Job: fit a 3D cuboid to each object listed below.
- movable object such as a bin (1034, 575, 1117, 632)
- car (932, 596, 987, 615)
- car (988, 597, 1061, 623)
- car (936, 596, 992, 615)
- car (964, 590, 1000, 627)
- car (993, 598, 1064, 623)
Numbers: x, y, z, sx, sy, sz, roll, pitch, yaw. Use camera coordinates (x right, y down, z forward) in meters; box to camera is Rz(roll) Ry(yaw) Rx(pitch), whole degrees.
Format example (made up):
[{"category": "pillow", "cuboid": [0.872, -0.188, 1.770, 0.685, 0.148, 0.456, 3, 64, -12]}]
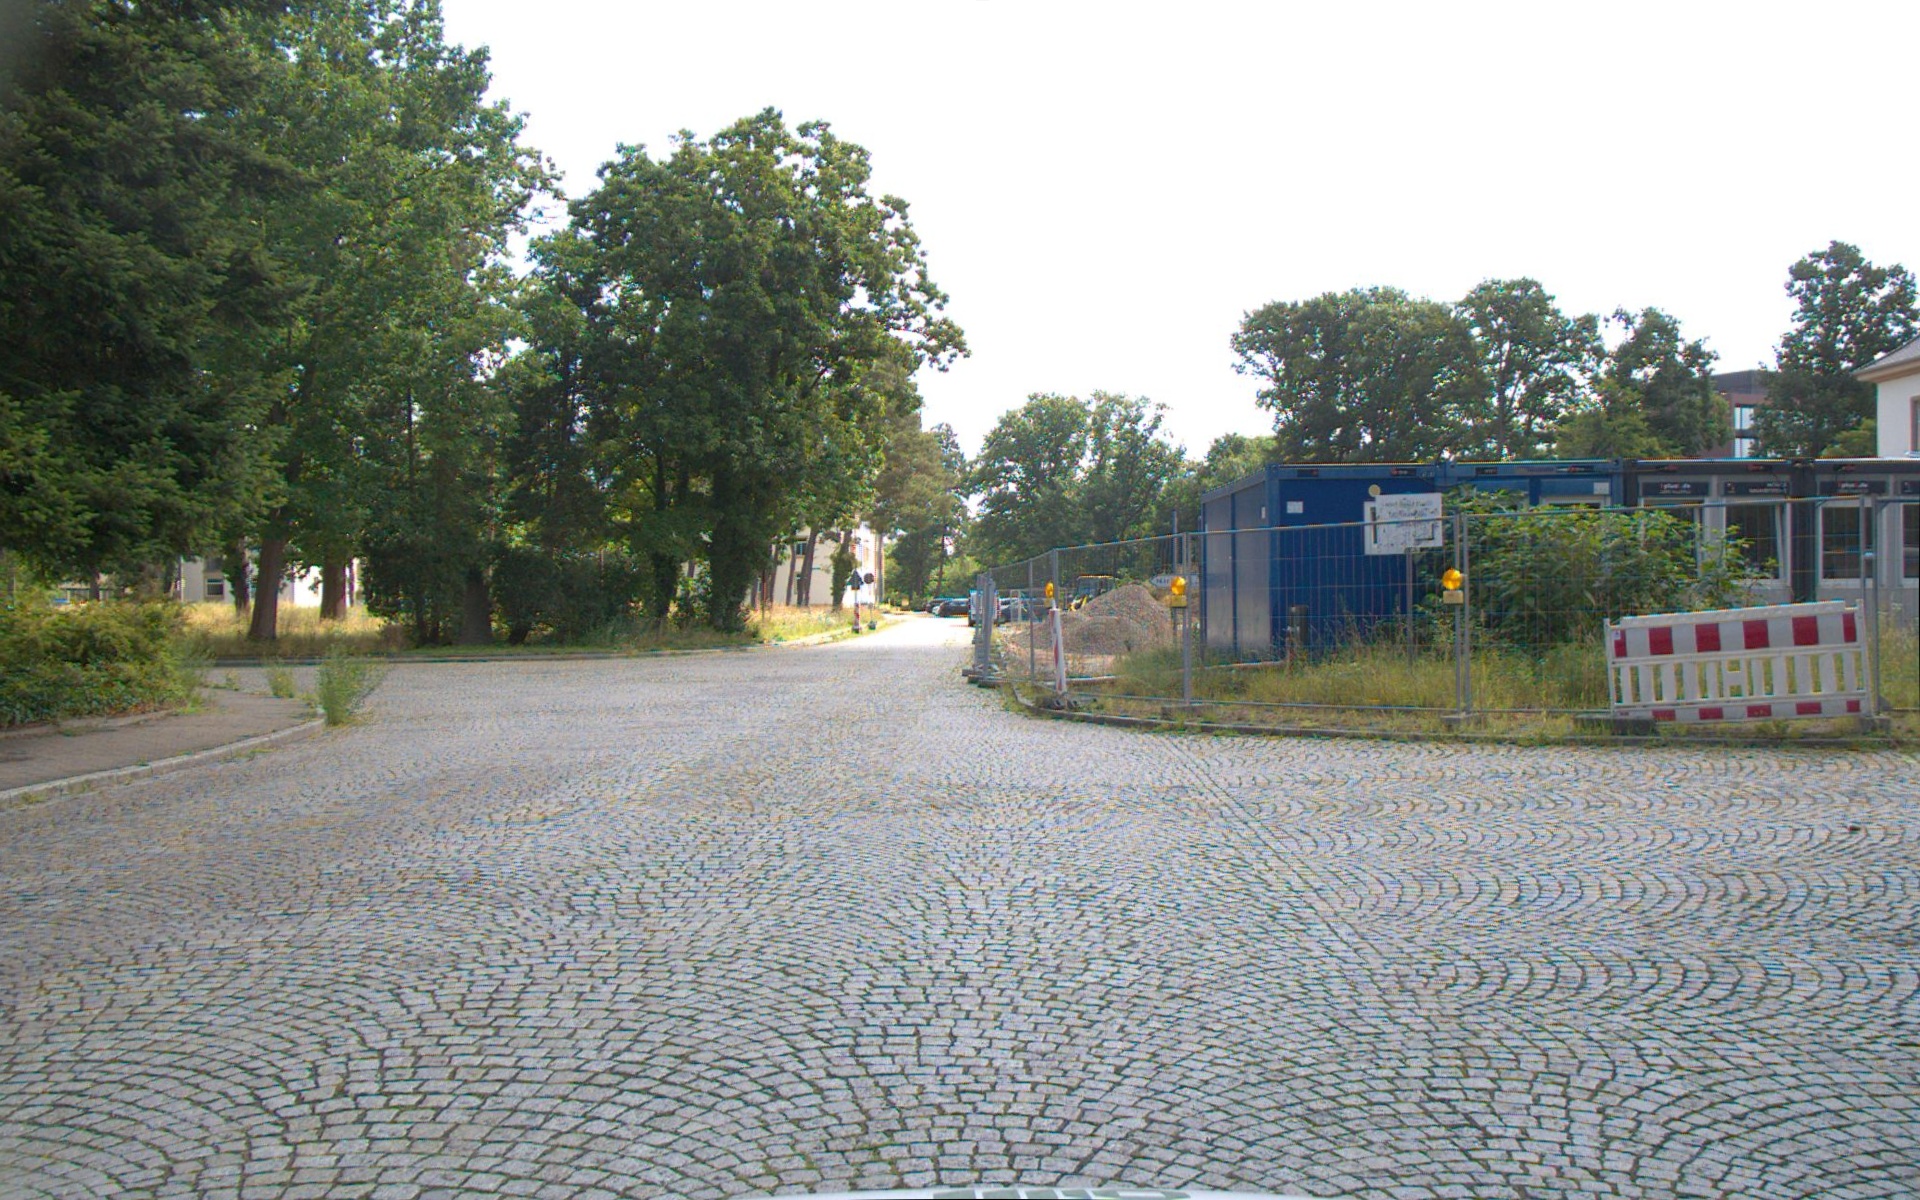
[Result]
[{"category": "movable object such as a bin", "cuboid": [5.516, 0.168, 78.465, 2.088, 2.638, 4.783, 0, 0, 29]}, {"category": "car", "cuboid": [-0.058, 0.501, 147.190, 4.687, 1.669, 1.998, 0, 0, -5]}, {"category": "car", "cuboid": [4.022, 0.640, 102.521, 4.309, 1.537, 2.002, 1, 0, 8]}, {"category": "car", "cuboid": [0.321, 0.505, 144.084, 4.687, 1.669, 1.998, 0, 0, -5]}, {"category": "car", "cuboid": [1.272, 0.480, 95.597, 1.953, 2.049, 4.090, 0, 0, -1]}, {"category": "car", "cuboid": [4.370, 0.647, 105.292, 4.309, 1.537, 2.002, 1, 0, 8]}]
